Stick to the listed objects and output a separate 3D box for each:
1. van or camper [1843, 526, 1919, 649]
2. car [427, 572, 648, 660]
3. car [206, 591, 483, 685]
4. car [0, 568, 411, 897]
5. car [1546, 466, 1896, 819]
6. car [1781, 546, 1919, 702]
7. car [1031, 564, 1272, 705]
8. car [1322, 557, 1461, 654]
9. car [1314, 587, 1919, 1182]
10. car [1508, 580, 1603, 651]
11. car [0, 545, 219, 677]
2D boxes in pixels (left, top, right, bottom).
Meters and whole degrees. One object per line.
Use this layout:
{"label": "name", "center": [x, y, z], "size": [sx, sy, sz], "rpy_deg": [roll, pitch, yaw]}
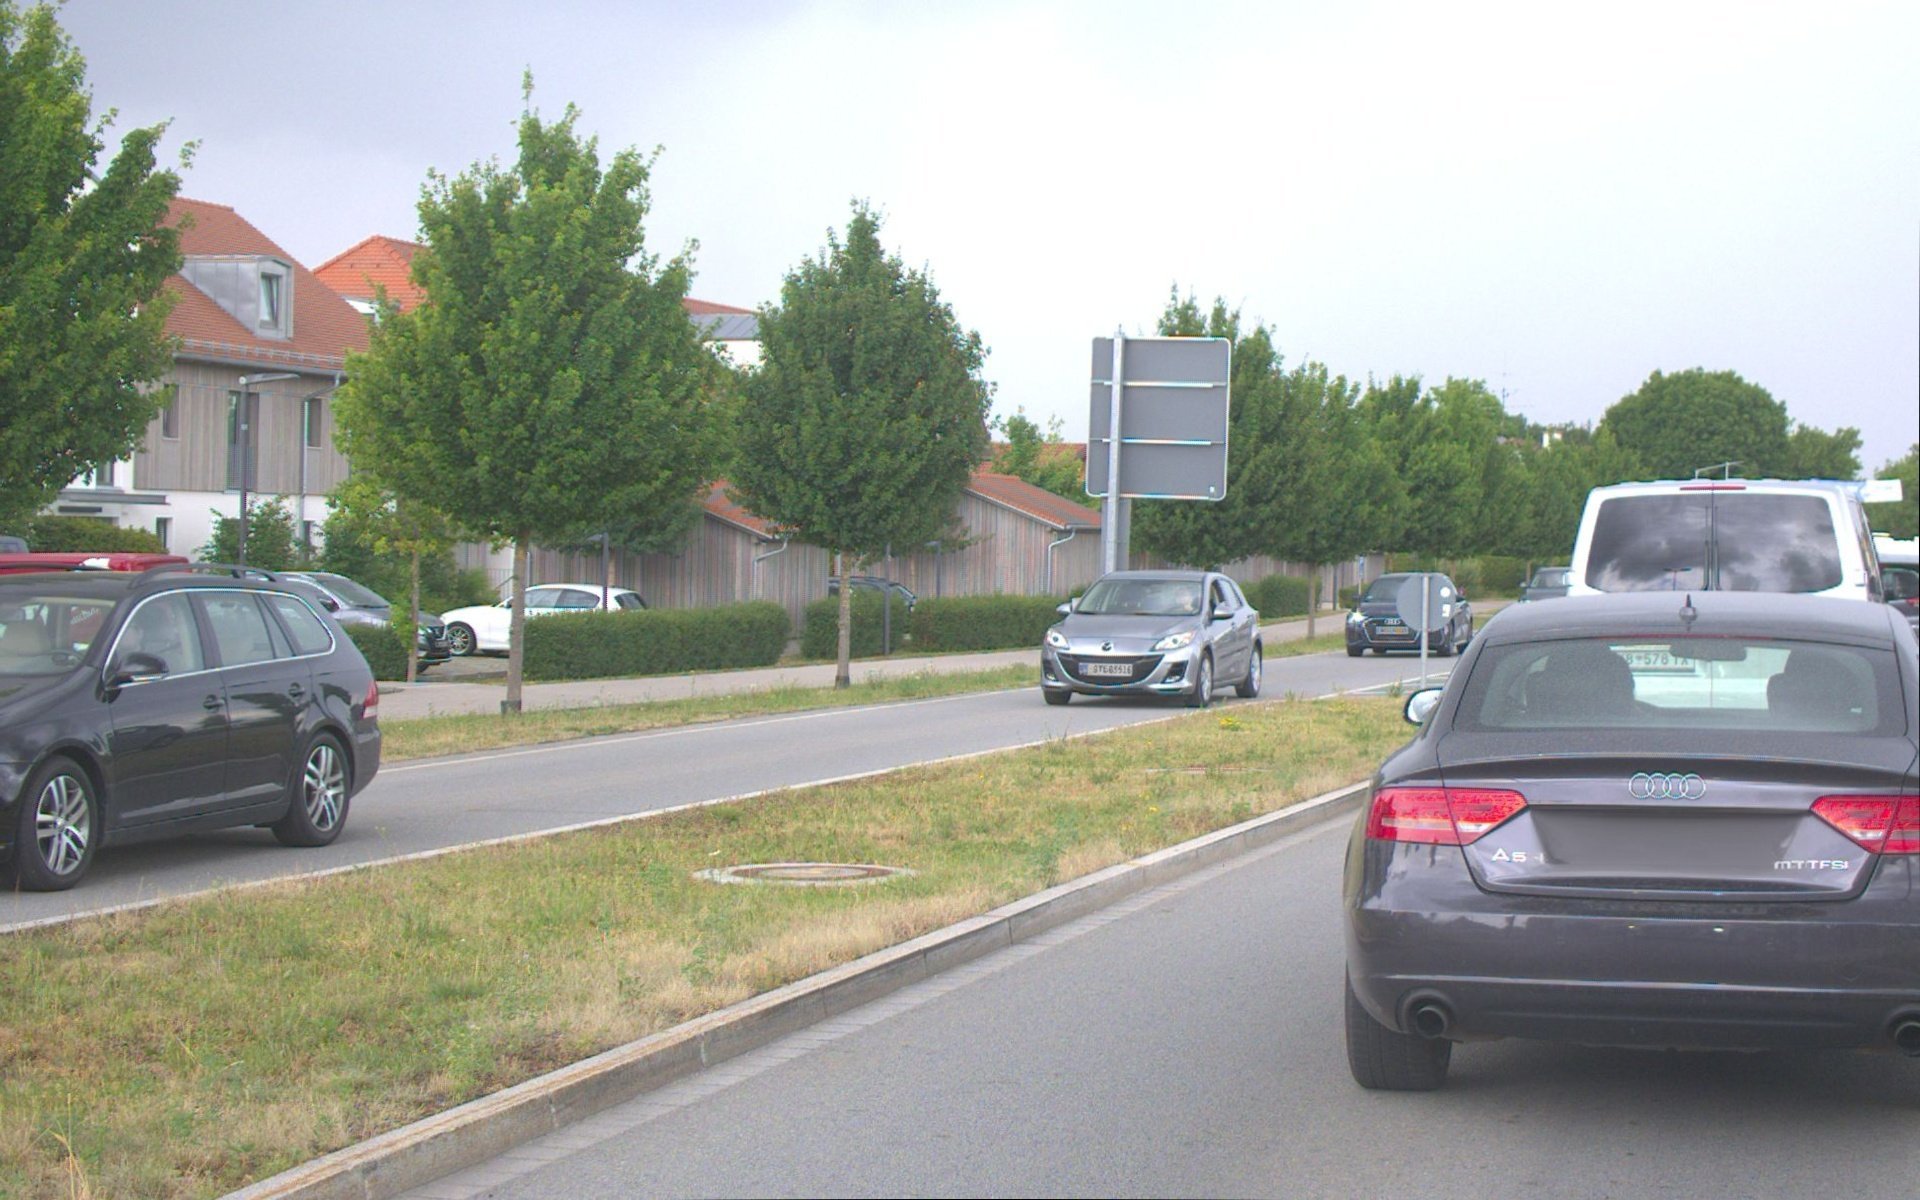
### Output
{"label": "van or camper", "center": [26.625, -0.318, 98.020], "size": [2.627, 3.312, 6.816], "rpy_deg": [2, 0, 15]}
{"label": "car", "center": [-7.896, 0.281, 64.347], "size": [3.731, 1.477, 1.685], "rpy_deg": [2, 1, 13]}
{"label": "car", "center": [-9.804, 0.590, 54.877], "size": [3.917, 1.310, 1.841], "rpy_deg": [2, 1, 14]}
{"label": "car", "center": [-4.442, 0.563, 16.813], "size": [1.755, 1.411, 4.452], "rpy_deg": [0, 0, 16]}
{"label": "car", "center": [4.807, 0.209, 21.562], "size": [1.868, 1.927, 3.998], "rpy_deg": [3, 1, 14]}
{"label": "car", "center": [10.212, 0.240, 38.404], "size": [1.778, 1.612, 3.997], "rpy_deg": [2, 1, 16]}
{"label": "car", "center": [2.171, 0.340, 37.857], "size": [1.731, 1.405, 4.202], "rpy_deg": [2, 1, 16]}
{"label": "car", "center": [7.533, 0.074, 59.713], "size": [1.868, 1.568, 3.997], "rpy_deg": [2, 1, 14]}
{"label": "car", "center": [2.244, 0.673, 10.339], "size": [1.785, 1.387, 4.130], "rpy_deg": [1, 1, 14]}
{"label": "car", "center": [14.048, 0.341, 80.963], "size": [1.868, 1.568, 3.997], "rpy_deg": [2, 1, 14]}
{"label": "car", "center": [-12.625, 0.103, 46.840], "size": [4.535, 1.674, 1.998], "rpy_deg": [2, 1, 19]}
